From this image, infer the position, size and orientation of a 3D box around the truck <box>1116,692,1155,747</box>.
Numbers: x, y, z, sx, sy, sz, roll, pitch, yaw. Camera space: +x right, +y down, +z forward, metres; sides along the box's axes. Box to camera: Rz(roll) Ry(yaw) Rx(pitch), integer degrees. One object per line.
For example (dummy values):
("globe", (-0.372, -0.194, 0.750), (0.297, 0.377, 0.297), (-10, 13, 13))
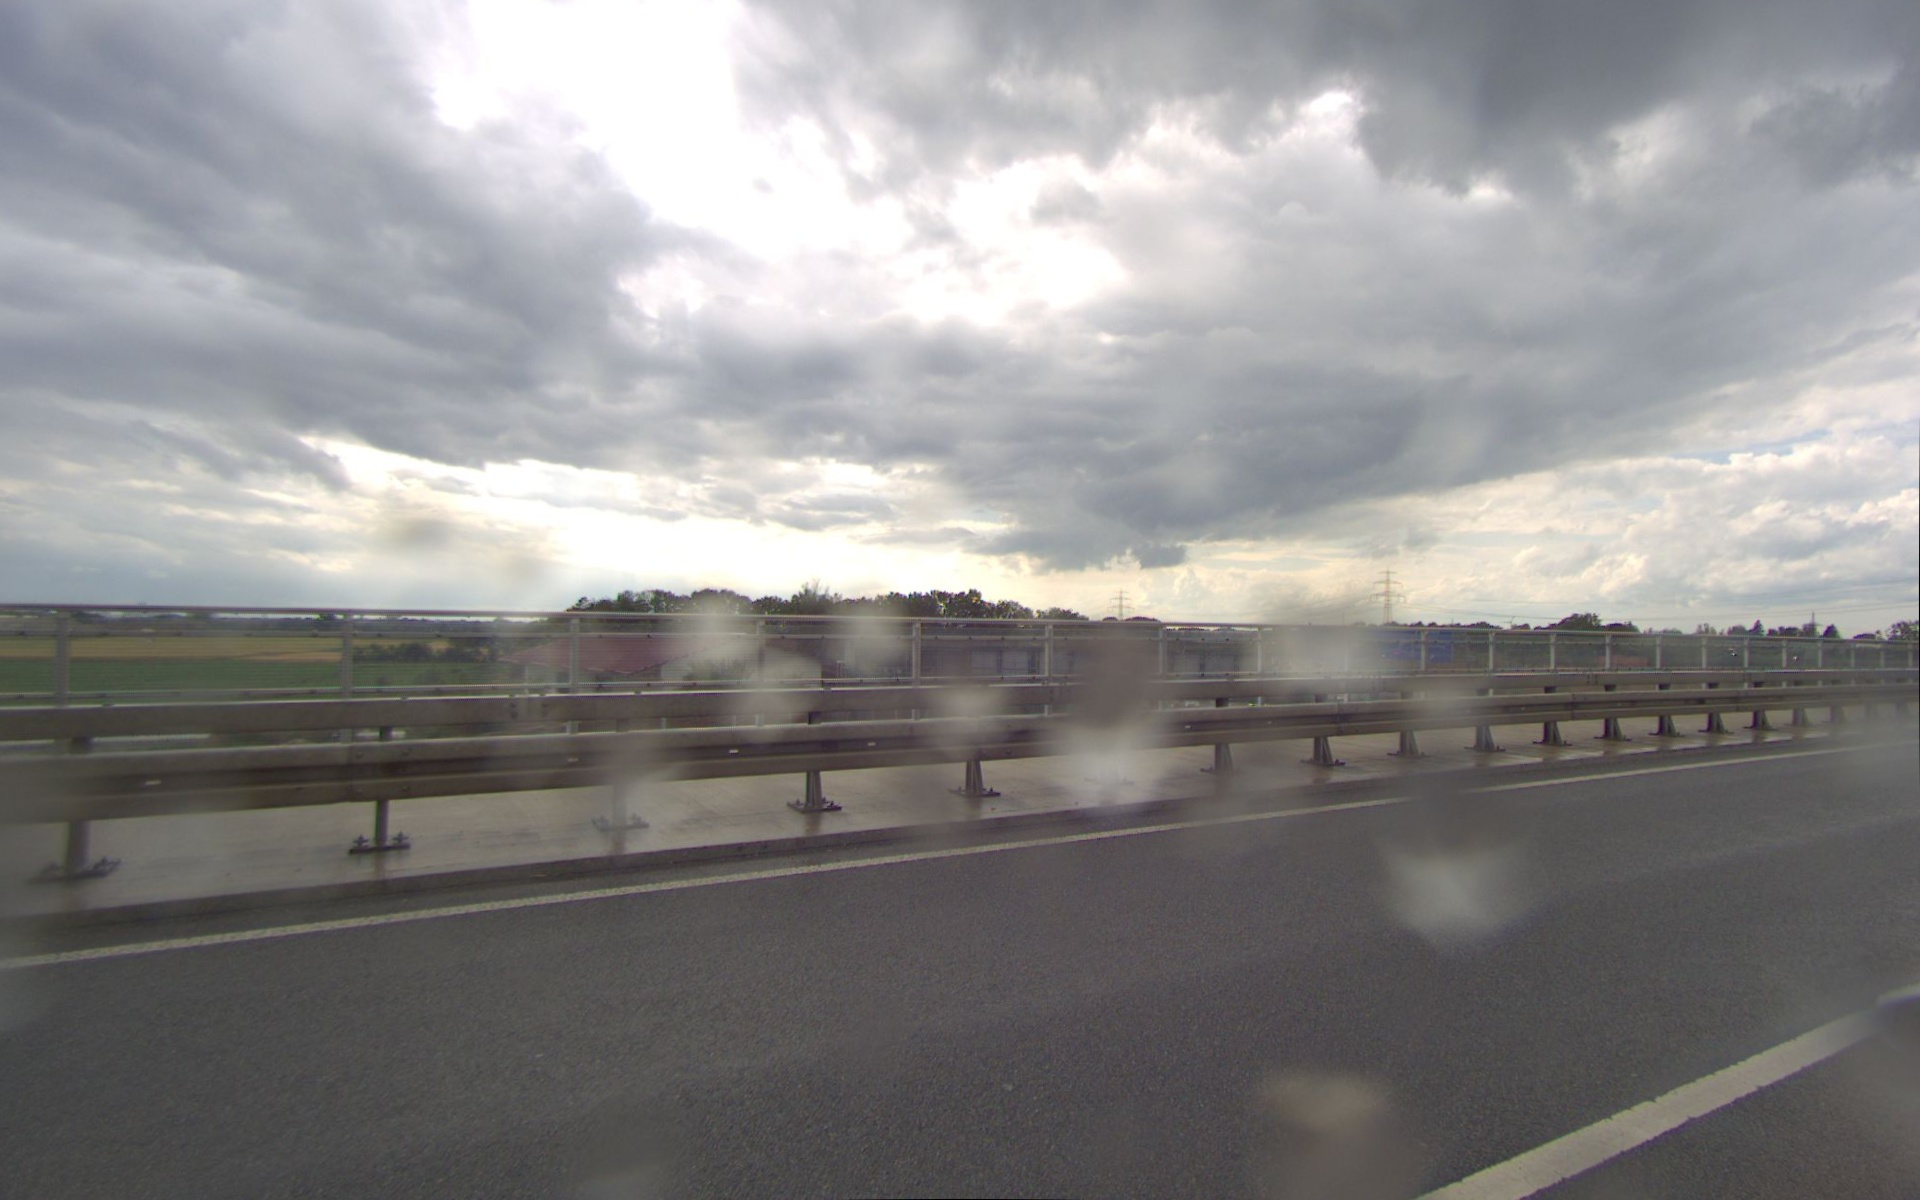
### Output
("truck", (16.868, 11.252, 95.859), (2.388, 4.054, 11.174), (2, 0, 16))

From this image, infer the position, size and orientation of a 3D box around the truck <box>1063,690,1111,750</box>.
("truck", (11.379, 10.458, 89.028), (2.388, 4.054, 11.174), (2, 0, 16))
